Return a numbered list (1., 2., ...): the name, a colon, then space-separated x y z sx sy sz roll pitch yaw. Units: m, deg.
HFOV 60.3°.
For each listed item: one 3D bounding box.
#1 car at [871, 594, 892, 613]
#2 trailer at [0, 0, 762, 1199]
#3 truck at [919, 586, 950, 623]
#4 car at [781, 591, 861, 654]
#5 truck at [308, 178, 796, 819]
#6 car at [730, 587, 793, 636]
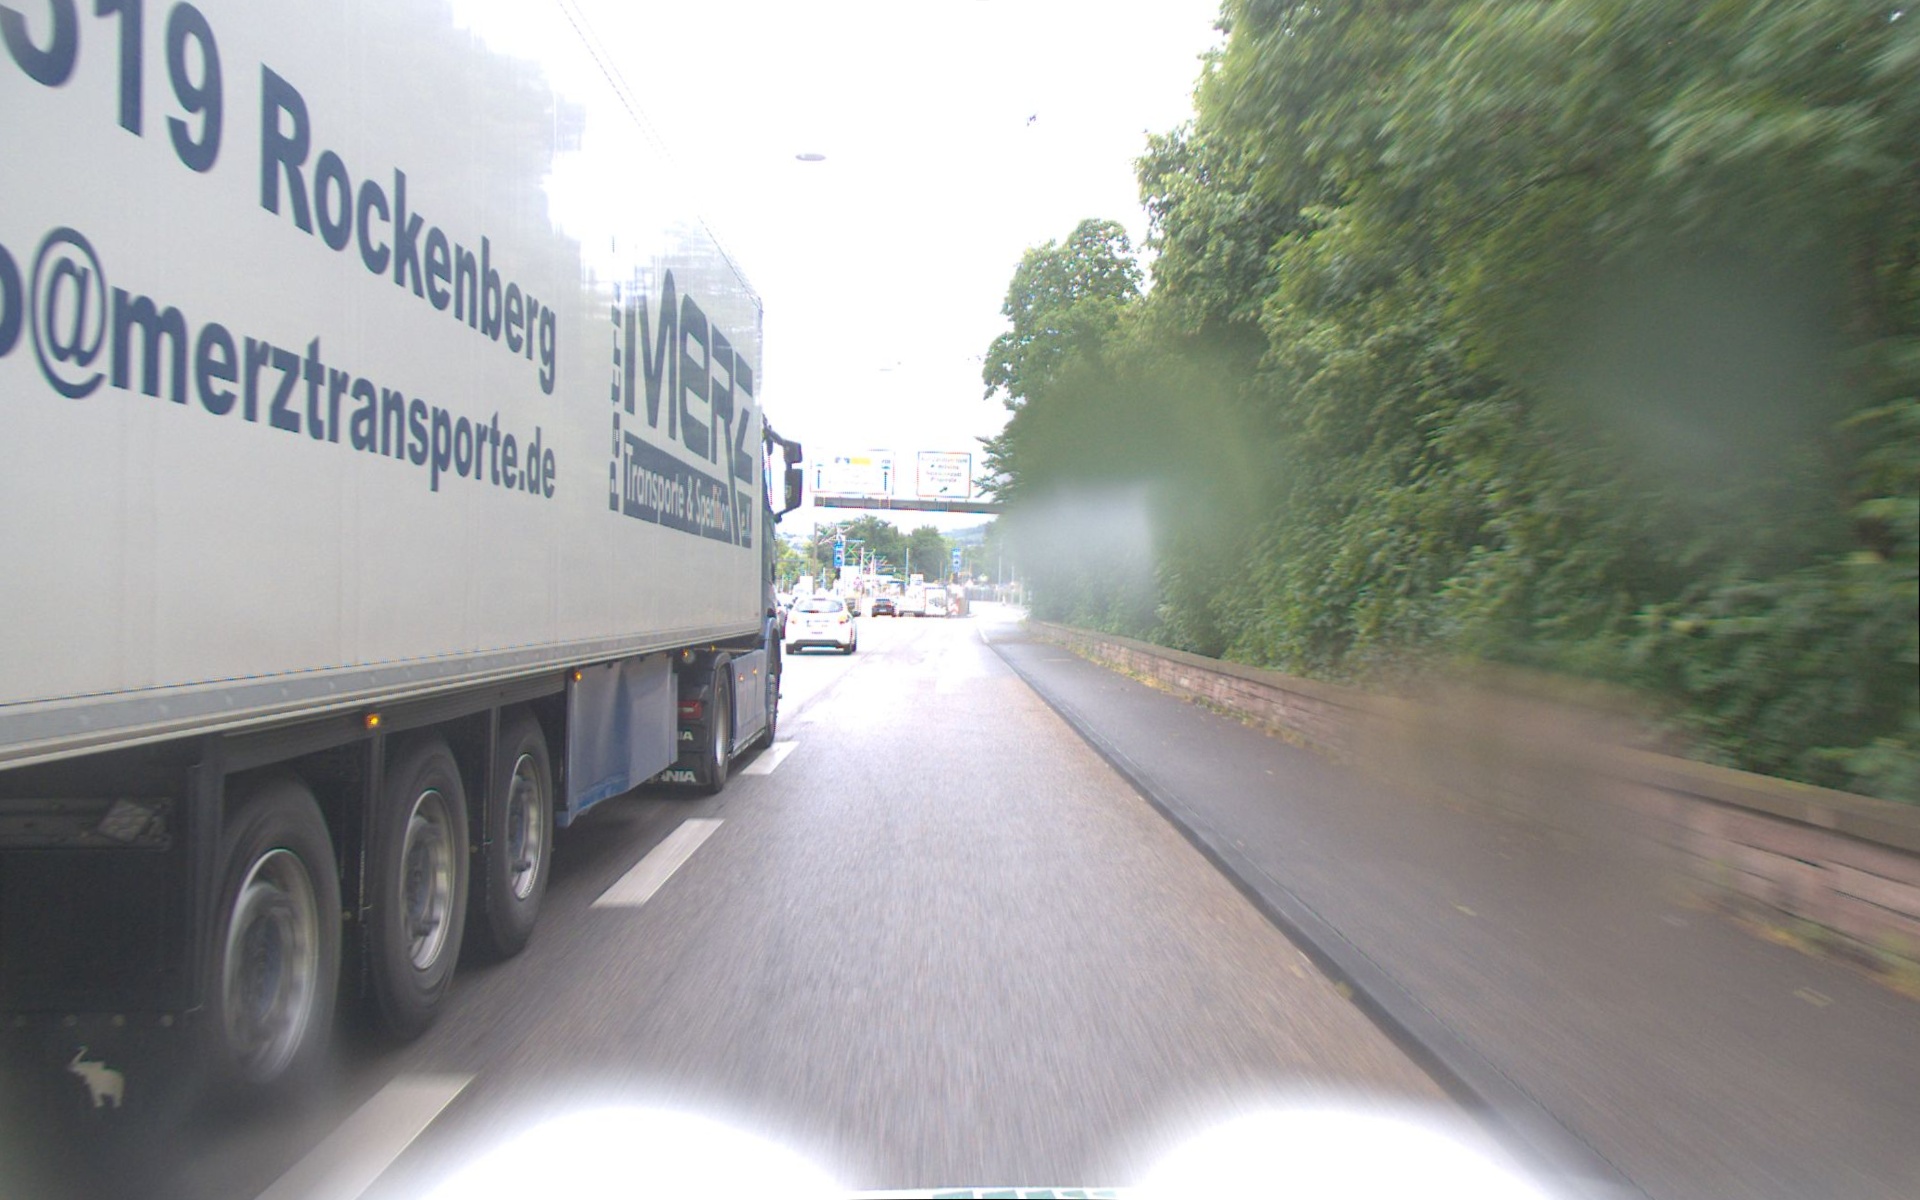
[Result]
1. car: -5.918 0.278 124.837 1.397 1.378 2.960 1 0 -1
2. trailer: -2.972 -0.668 7.510 2.706 4.327 13.181 0 0 -1
3. truck: -2.954 0.547 192.369 3.446 4.110 8.073 1 0 -1
4. car: -3.546 0.546 42.841 1.773 1.448 4.000 1 2 -1
5. truck: -3.040 -0.693 14.217 2.700 4.278 6.305 0 0 -1
6. car: -6.610 0.367 55.415 1.647 1.471 4.000 1 2 -1
